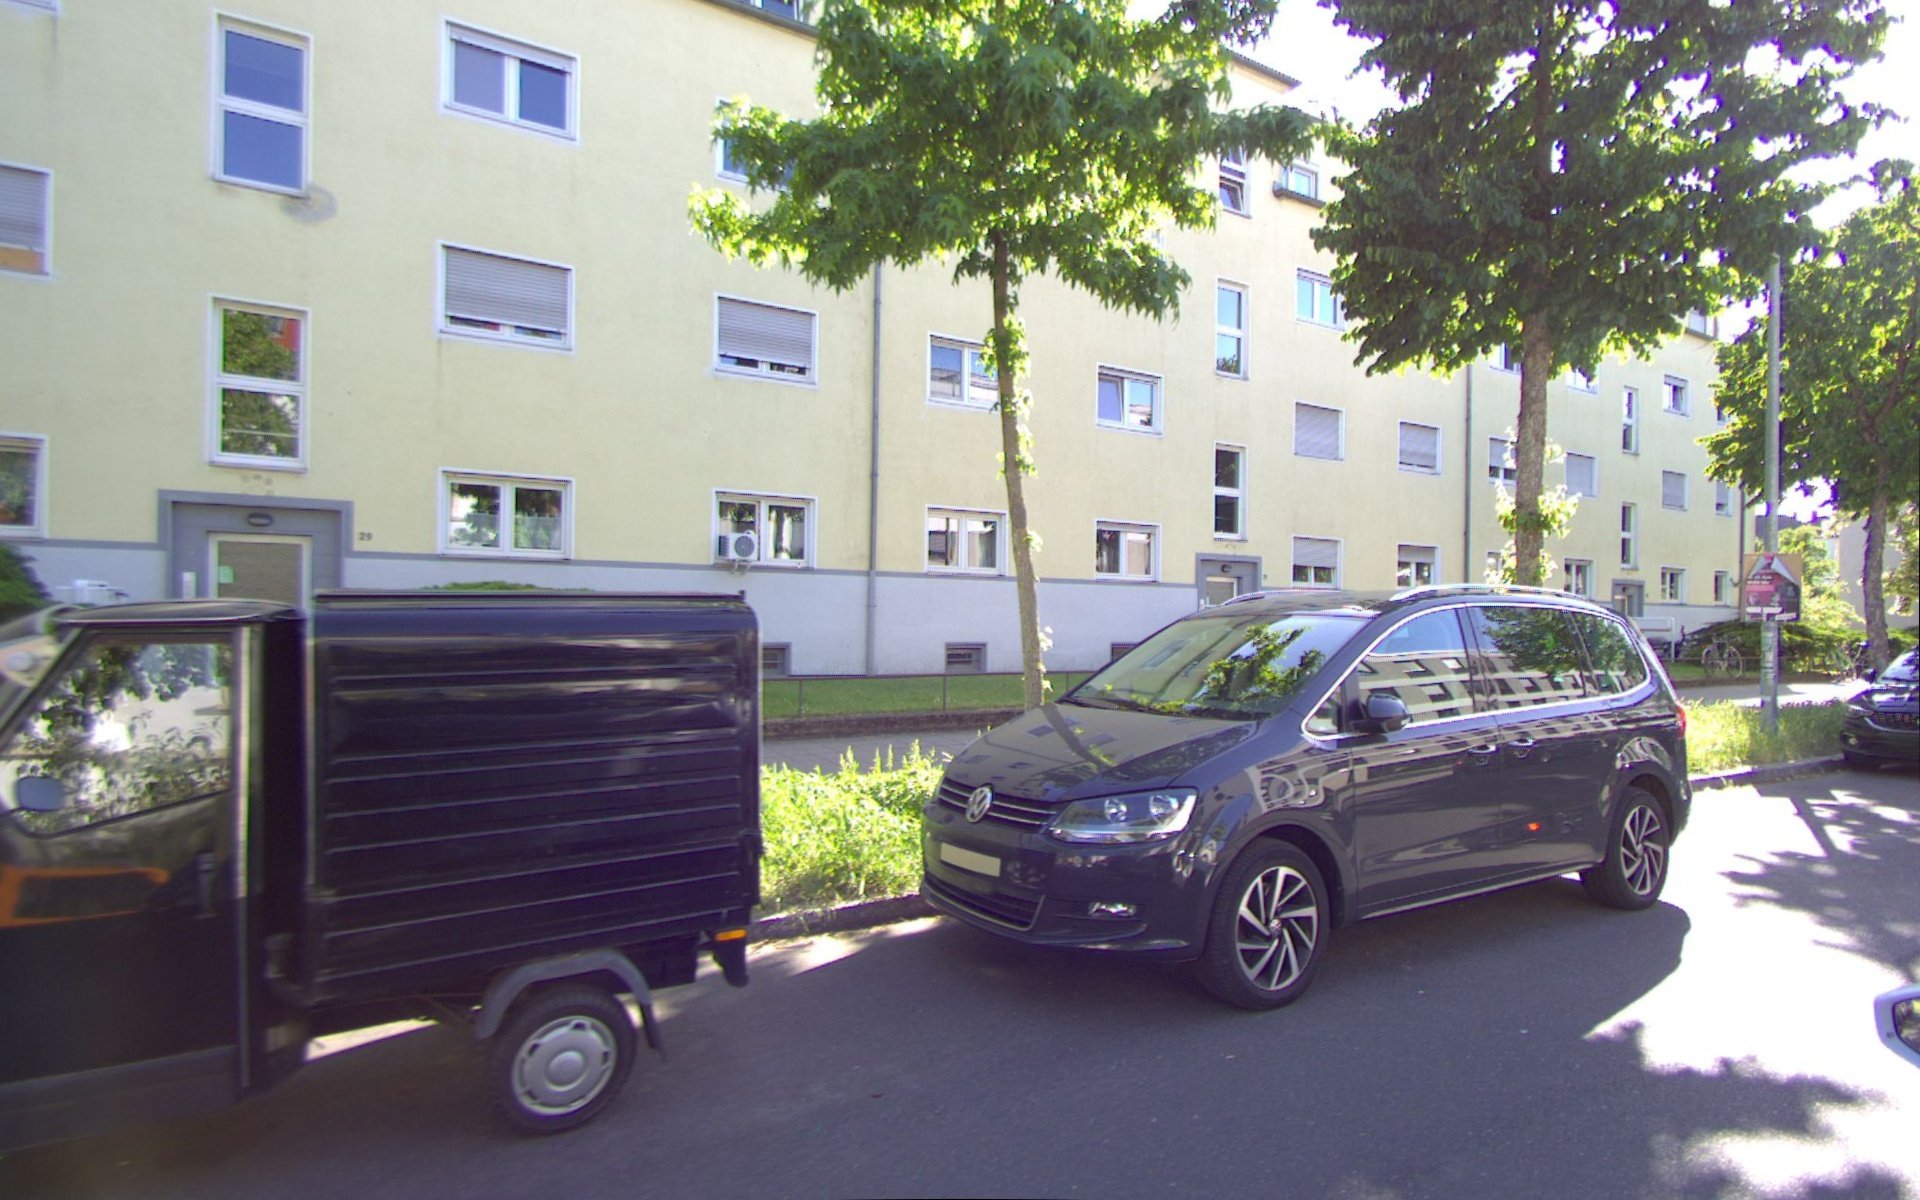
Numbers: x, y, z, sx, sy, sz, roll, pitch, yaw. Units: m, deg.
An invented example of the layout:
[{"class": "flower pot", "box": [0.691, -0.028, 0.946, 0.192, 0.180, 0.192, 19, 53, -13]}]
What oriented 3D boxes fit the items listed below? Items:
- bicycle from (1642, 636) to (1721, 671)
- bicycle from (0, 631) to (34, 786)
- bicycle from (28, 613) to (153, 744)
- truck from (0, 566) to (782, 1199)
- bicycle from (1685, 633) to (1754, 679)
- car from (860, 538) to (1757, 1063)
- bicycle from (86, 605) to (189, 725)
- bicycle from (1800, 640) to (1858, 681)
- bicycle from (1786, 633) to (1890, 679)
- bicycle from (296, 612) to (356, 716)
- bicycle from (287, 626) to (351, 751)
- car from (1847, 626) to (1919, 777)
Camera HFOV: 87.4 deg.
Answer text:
[{"class": "bicycle", "box": [22.245, 1.632, 30.986, 0.591, 1.005, 1.907, 1, -1, -37]}, {"class": "bicycle", "box": [-7.599, 0.777, 6.824, 0.478, 1.095, 1.840, 3, 1, 35]}, {"class": "bicycle", "box": [-8.465, 0.717, 9.847, 0.480, 1.095, 1.832, 2, 1, -27]}, {"class": "truck", "box": [-1.875, 0.741, 3.067, 2.402, 1.598, 1.079, 1, -1, -29]}, {"class": "bicycle", "box": [17.289, 1.260, 22.857, 1.906, 1.005, 0.591, 1, -1, -31]}, {"class": "car", "box": [2.077, 0.737, 5.377, 4.921, 1.702, 1.840, 1, -3, -32]}, {"class": "bicycle", "box": [-9.093, 0.676, 11.158, 0.480, 1.161, 1.832, 2, 1, -27]}, {"class": "bicycle", "box": [22.365, 1.546, 25.840, 1.906, 1.005, 0.591, 1, -1, -31]}, {"class": "bicycle", "box": [24.414, 1.531, 27.962, 0.685, 1.224, 2.126, 1, -2, -41]}, {"class": "bicycle", "box": [-7.707, 0.744, 12.182, 0.482, 1.095, 1.827, 5, -1, -34]}, {"class": "bicycle", "box": [-6.346, 0.819, 9.927, 0.481, 1.095, 1.828, 1, -1, -33]}, {"class": "car", "box": [12.124, 1.106, 11.600, 4.725, 1.568, 1.500, 2, -3, -32]}]
